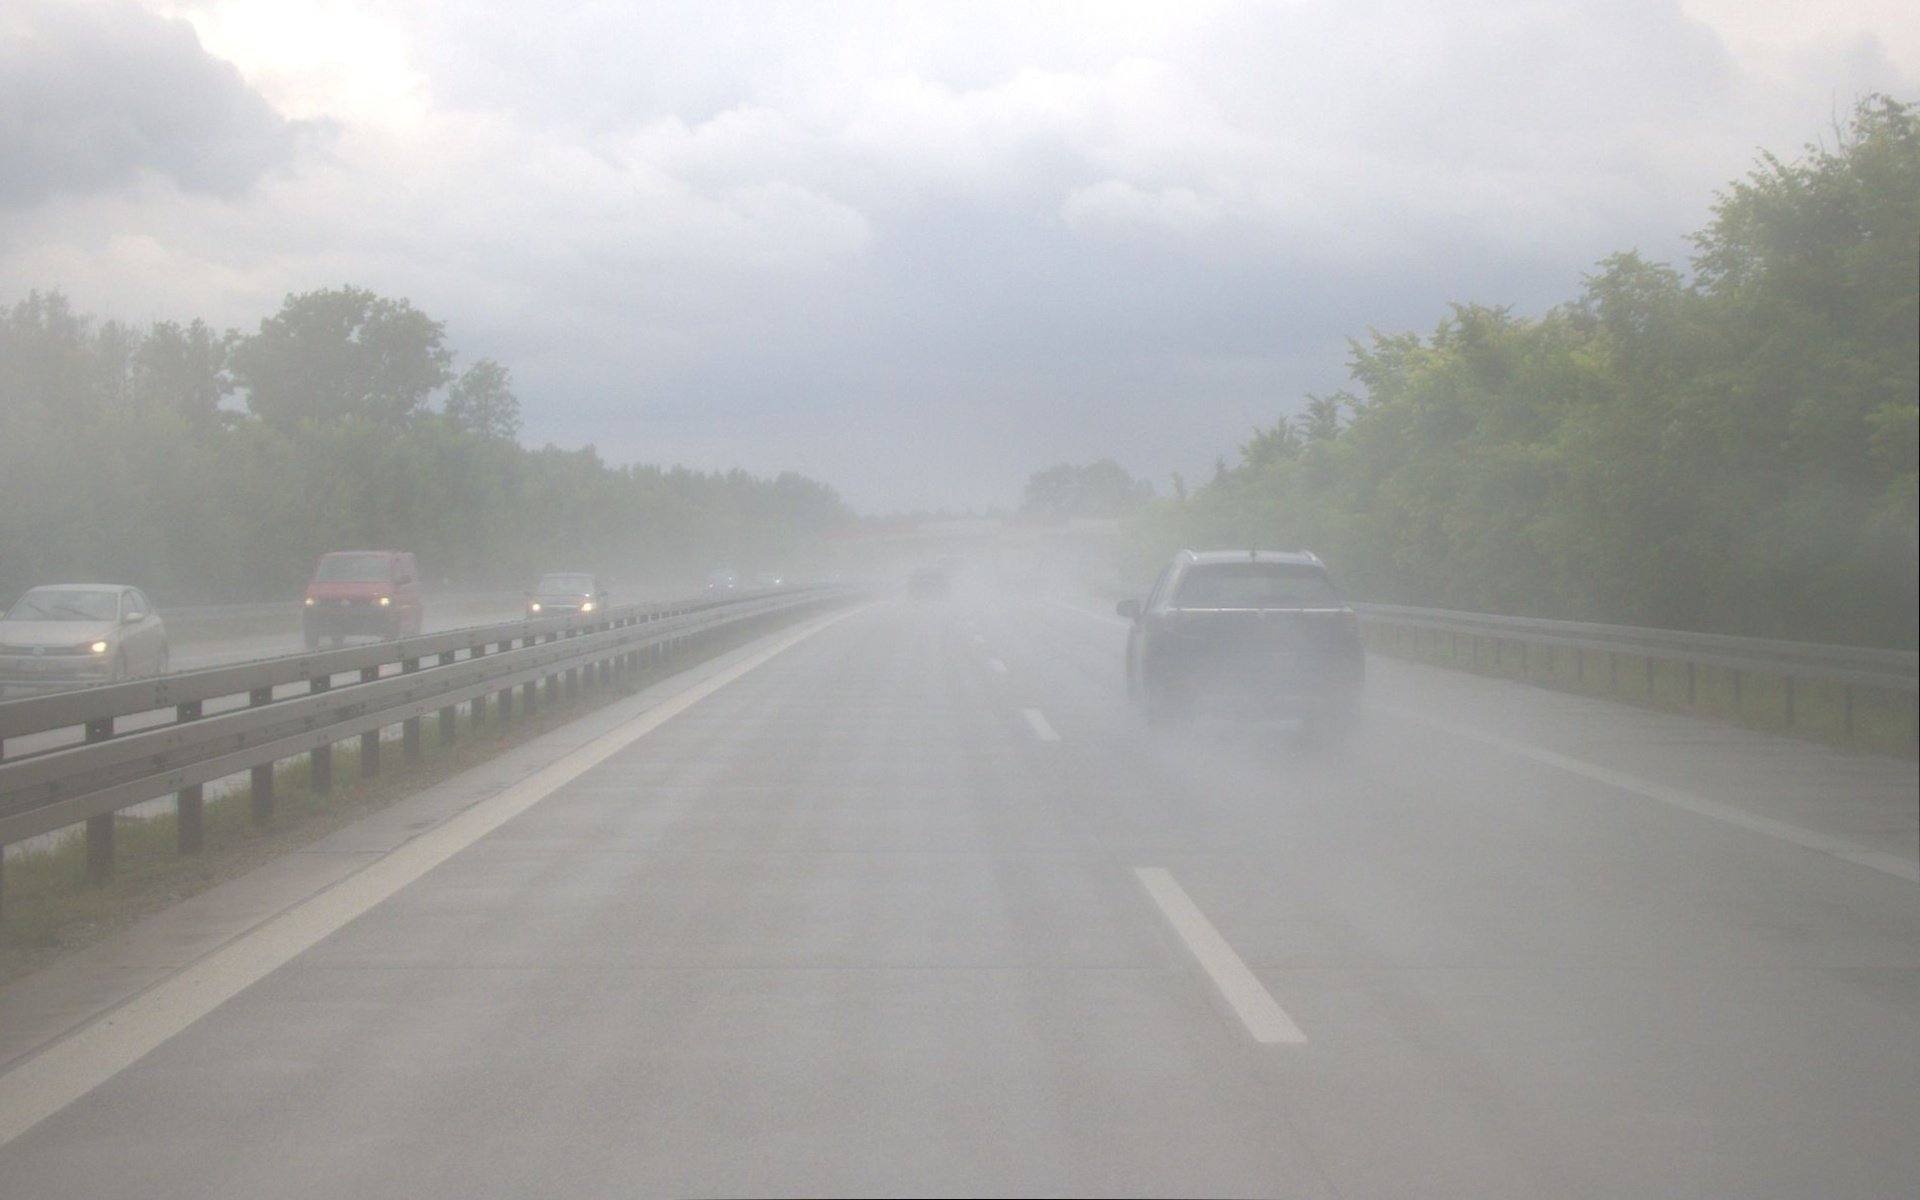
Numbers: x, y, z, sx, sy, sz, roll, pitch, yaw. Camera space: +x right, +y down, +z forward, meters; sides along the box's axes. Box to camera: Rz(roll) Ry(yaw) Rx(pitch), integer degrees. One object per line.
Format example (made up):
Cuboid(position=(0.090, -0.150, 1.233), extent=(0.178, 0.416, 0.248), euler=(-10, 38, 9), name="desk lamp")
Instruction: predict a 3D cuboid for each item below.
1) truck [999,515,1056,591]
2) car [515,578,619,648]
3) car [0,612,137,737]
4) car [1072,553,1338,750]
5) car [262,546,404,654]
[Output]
Cuboid(position=(4.067, -2.749, 205.206), extent=(3.244, 4.422, 8.245), euler=(0, 0, 2), name="truck")
Cuboid(position=(-9.402, 0.288, 82.563), extent=(1.993, 1.478, 4.557), euler=(-2, 1, -1), name="car")
Cuboid(position=(-12.040, 0.947, 44.683), extent=(1.749, 1.430, 3.918), euler=(-2, 1, -1), name="car")
Cuboid(position=(2.033, 0.421, 29.497), extent=(1.894, 1.571, 3.632), euler=(1, 0, -2), name="car")
Cuboid(position=(-12.964, -0.048, 71.410), extent=(1.993, 2.057, 5.314), euler=(-2, 1, -1), name="car")
